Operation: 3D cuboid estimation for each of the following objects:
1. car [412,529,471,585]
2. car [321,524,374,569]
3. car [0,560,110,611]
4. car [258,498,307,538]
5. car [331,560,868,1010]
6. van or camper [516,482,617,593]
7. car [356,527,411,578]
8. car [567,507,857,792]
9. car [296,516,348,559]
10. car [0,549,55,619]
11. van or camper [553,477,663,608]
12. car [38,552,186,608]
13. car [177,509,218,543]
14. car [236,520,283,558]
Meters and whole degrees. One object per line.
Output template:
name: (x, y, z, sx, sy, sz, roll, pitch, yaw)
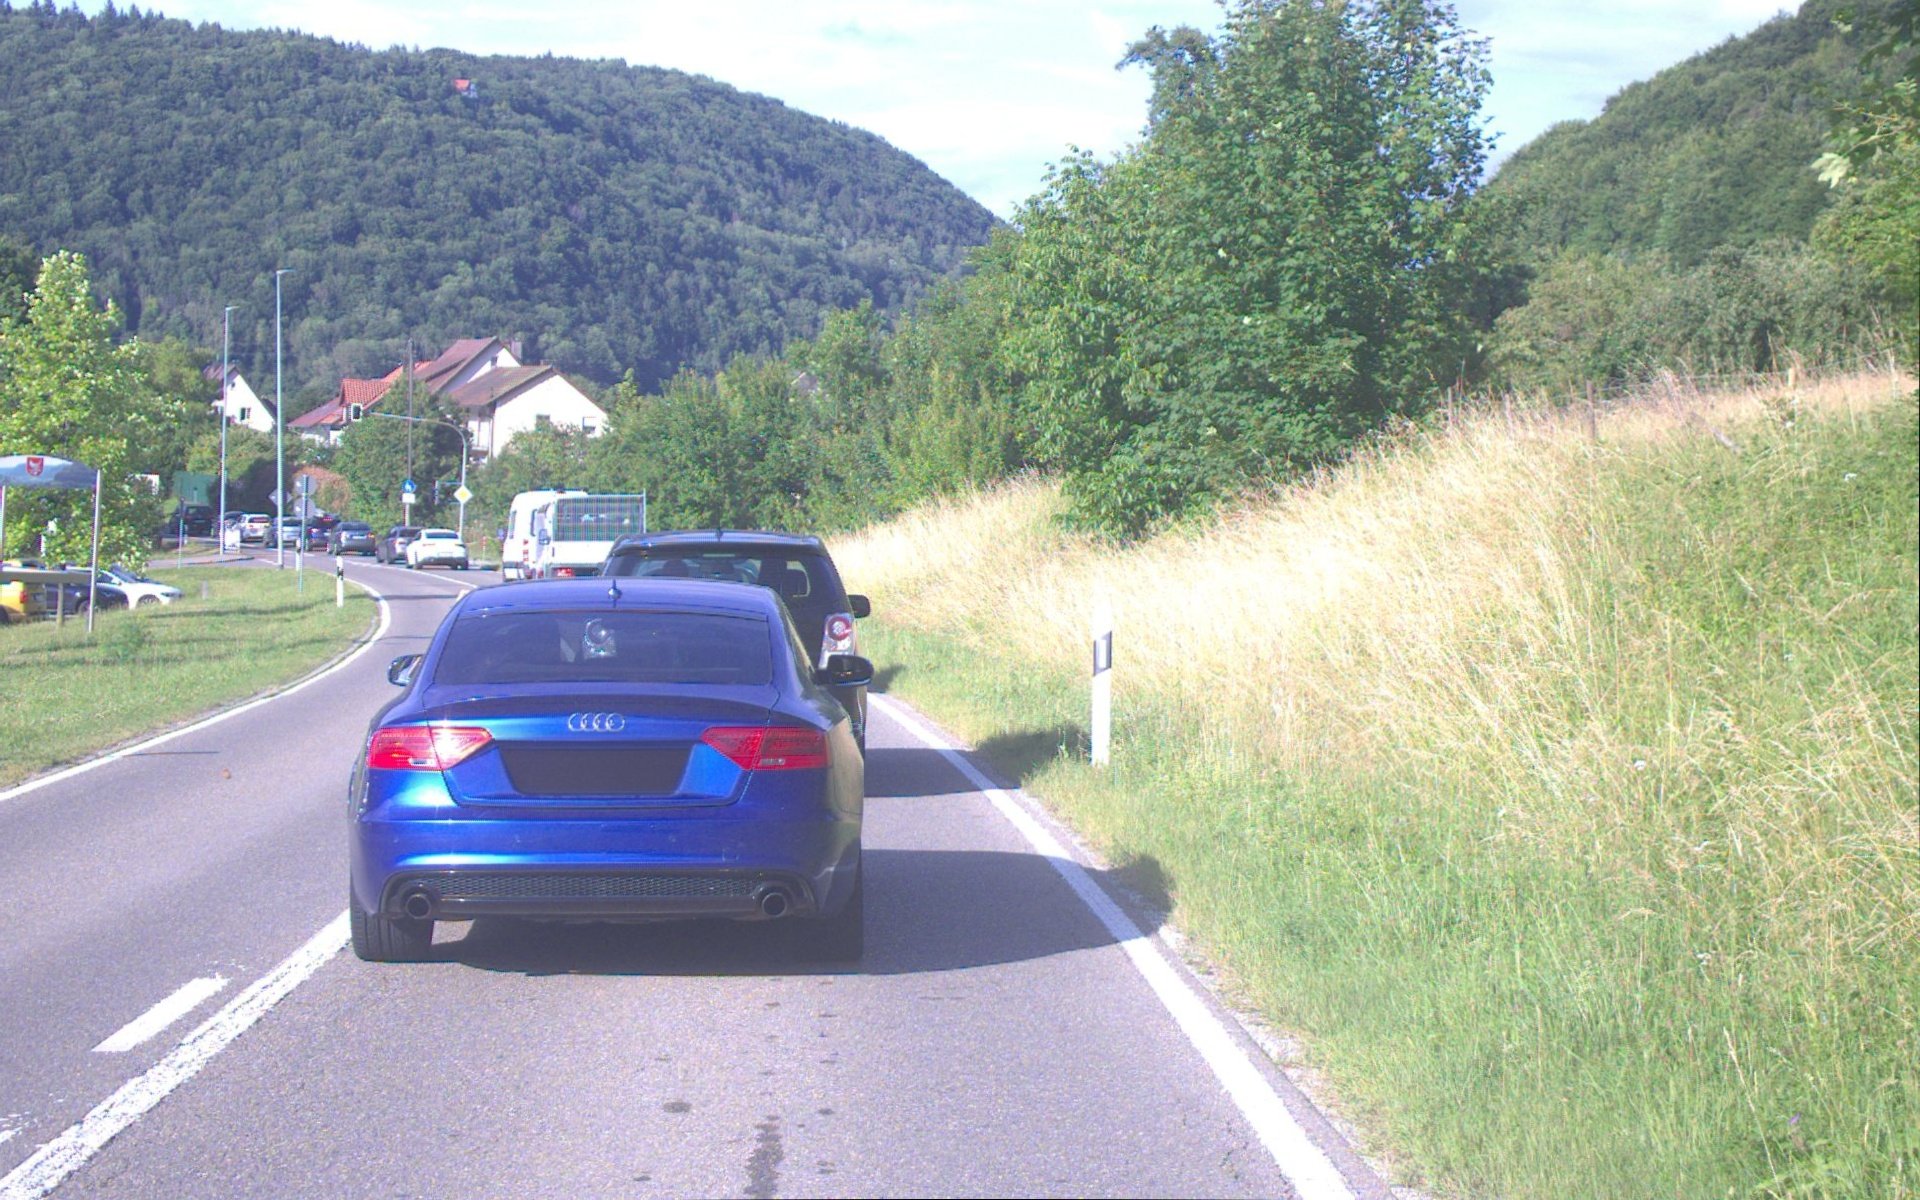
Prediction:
car: (-18.340, -1.532, 121.421, 1.659, 1.918, 4.001, -1, 1, -14)
car: (-26.627, -2.315, 149.275, 1.659, 1.918, 4.001, -1, 1, -19)
car: (-26.896, -0.413, 100.460, 3.712, 1.434, 1.509, -1, 1, 4)
car: (-33.200, -4.026, 168.466, 1.676, 1.918, 4.001, -1, 1, -21)
car: (-1.262, 0.582, 12.982, 1.742, 1.445, 3.517, 0, 1, -3)
van or camper: (-10.060, -1.575, 87.513, 2.280, 2.704, 5.769, -1, 1, -9)
car: (-22.231, -1.820, 132.515, 1.659, 1.918, 4.001, -1, 1, -16)
car: (-1.561, 0.260, 21.787, 1.645, 1.619, 3.517, 1, 1, -4)
car: (-29.466, -2.879, 158.777, 1.676, 1.918, 4.001, -1, 1, -20)
car: (-26.311, -0.415, 90.241, 4.553, 1.808, 1.841, -1, 1, 4)
van or camper: (-7.111, -1.145, 69.030, 2.051, 2.497, 5.813, -1, 1, -7)
car: (-25.840, -0.617, 104.787, 4.036, 1.655, 1.655, -1, 1, 4)
car: (-43.062, -4.171, 194.088, 1.676, 1.918, 4.001, -1, 1, -21)
car: (-36.246, -3.157, 177.789, 1.676, 1.918, 4.001, -1, 1, -21)
